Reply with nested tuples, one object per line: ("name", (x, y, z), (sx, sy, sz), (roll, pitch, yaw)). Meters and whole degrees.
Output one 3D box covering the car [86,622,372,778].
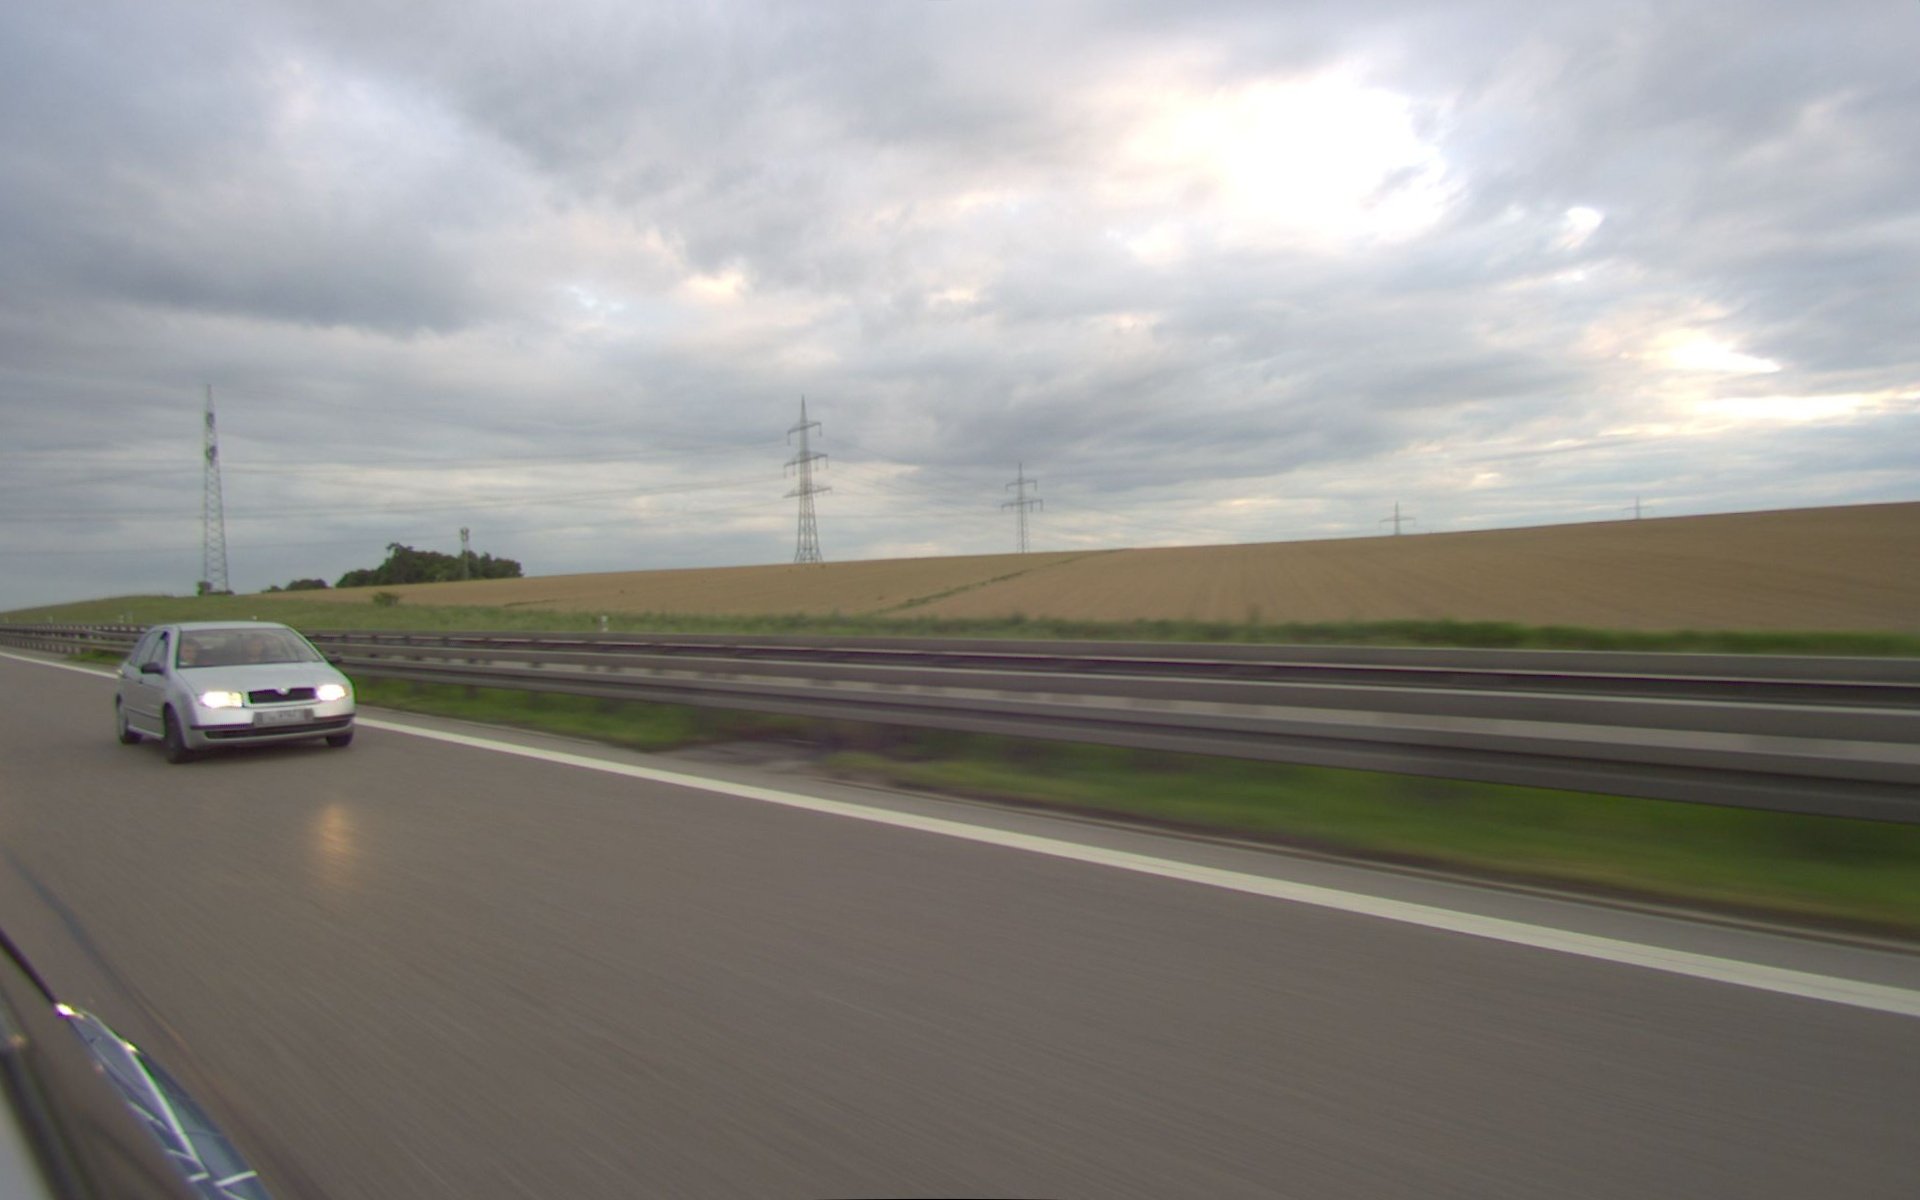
("car", (-8.377, 0.970, 11.424), (4.598, 1.400, 1.572), (-1, -1, 40))
